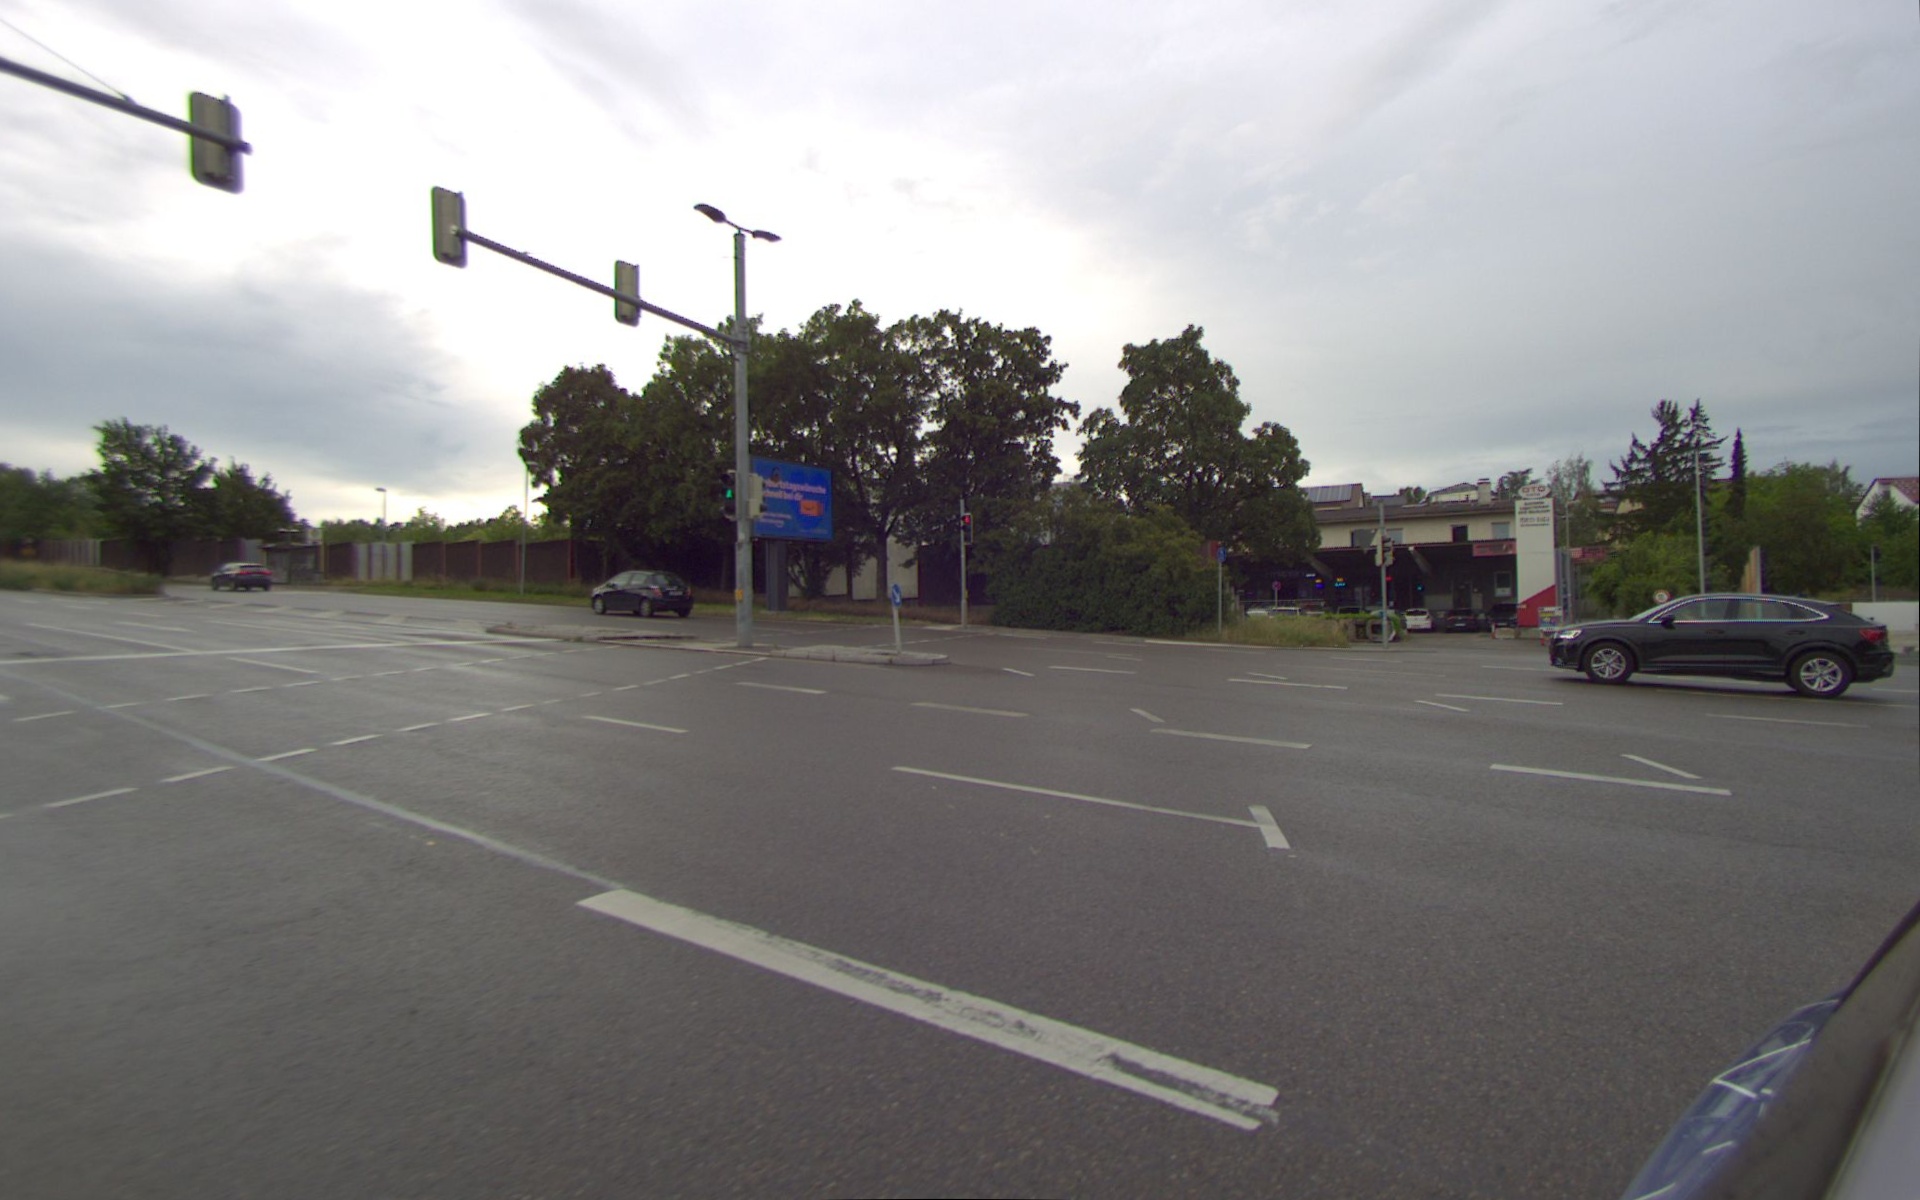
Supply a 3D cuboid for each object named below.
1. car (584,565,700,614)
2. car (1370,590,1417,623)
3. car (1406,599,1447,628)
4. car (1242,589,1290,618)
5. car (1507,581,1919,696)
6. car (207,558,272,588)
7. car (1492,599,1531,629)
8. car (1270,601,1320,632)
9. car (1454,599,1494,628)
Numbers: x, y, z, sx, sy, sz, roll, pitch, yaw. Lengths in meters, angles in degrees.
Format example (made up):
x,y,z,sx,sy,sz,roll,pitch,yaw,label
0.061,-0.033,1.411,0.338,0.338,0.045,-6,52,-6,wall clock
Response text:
x,y,z,sx,sy,sz,roll,pitch,yaw,label
-10.499,-0.361,33.360,3.803,1.519,1.704,2,1,36,car
23.661,0.338,55.179,1.734,1.672,3.953,2,1,33,car
29.075,0.818,63.034,1.734,1.672,3.953,2,1,33,car
18.743,0.216,61.865,1.734,1.672,3.953,2,1,33,car
12.104,0.524,16.432,5.500,1.519,1.817,2,1,36,car
-38.167,-1.445,53.577,3.803,1.519,1.704,2,1,36,car
32.790,0.804,60.081,1.734,1.672,3.953,2,1,33,car
18.963,0.897,57.233,1.734,1.672,3.953,2,1,33,car
31.175,0.811,61.367,1.734,1.672,3.953,2,1,33,car
